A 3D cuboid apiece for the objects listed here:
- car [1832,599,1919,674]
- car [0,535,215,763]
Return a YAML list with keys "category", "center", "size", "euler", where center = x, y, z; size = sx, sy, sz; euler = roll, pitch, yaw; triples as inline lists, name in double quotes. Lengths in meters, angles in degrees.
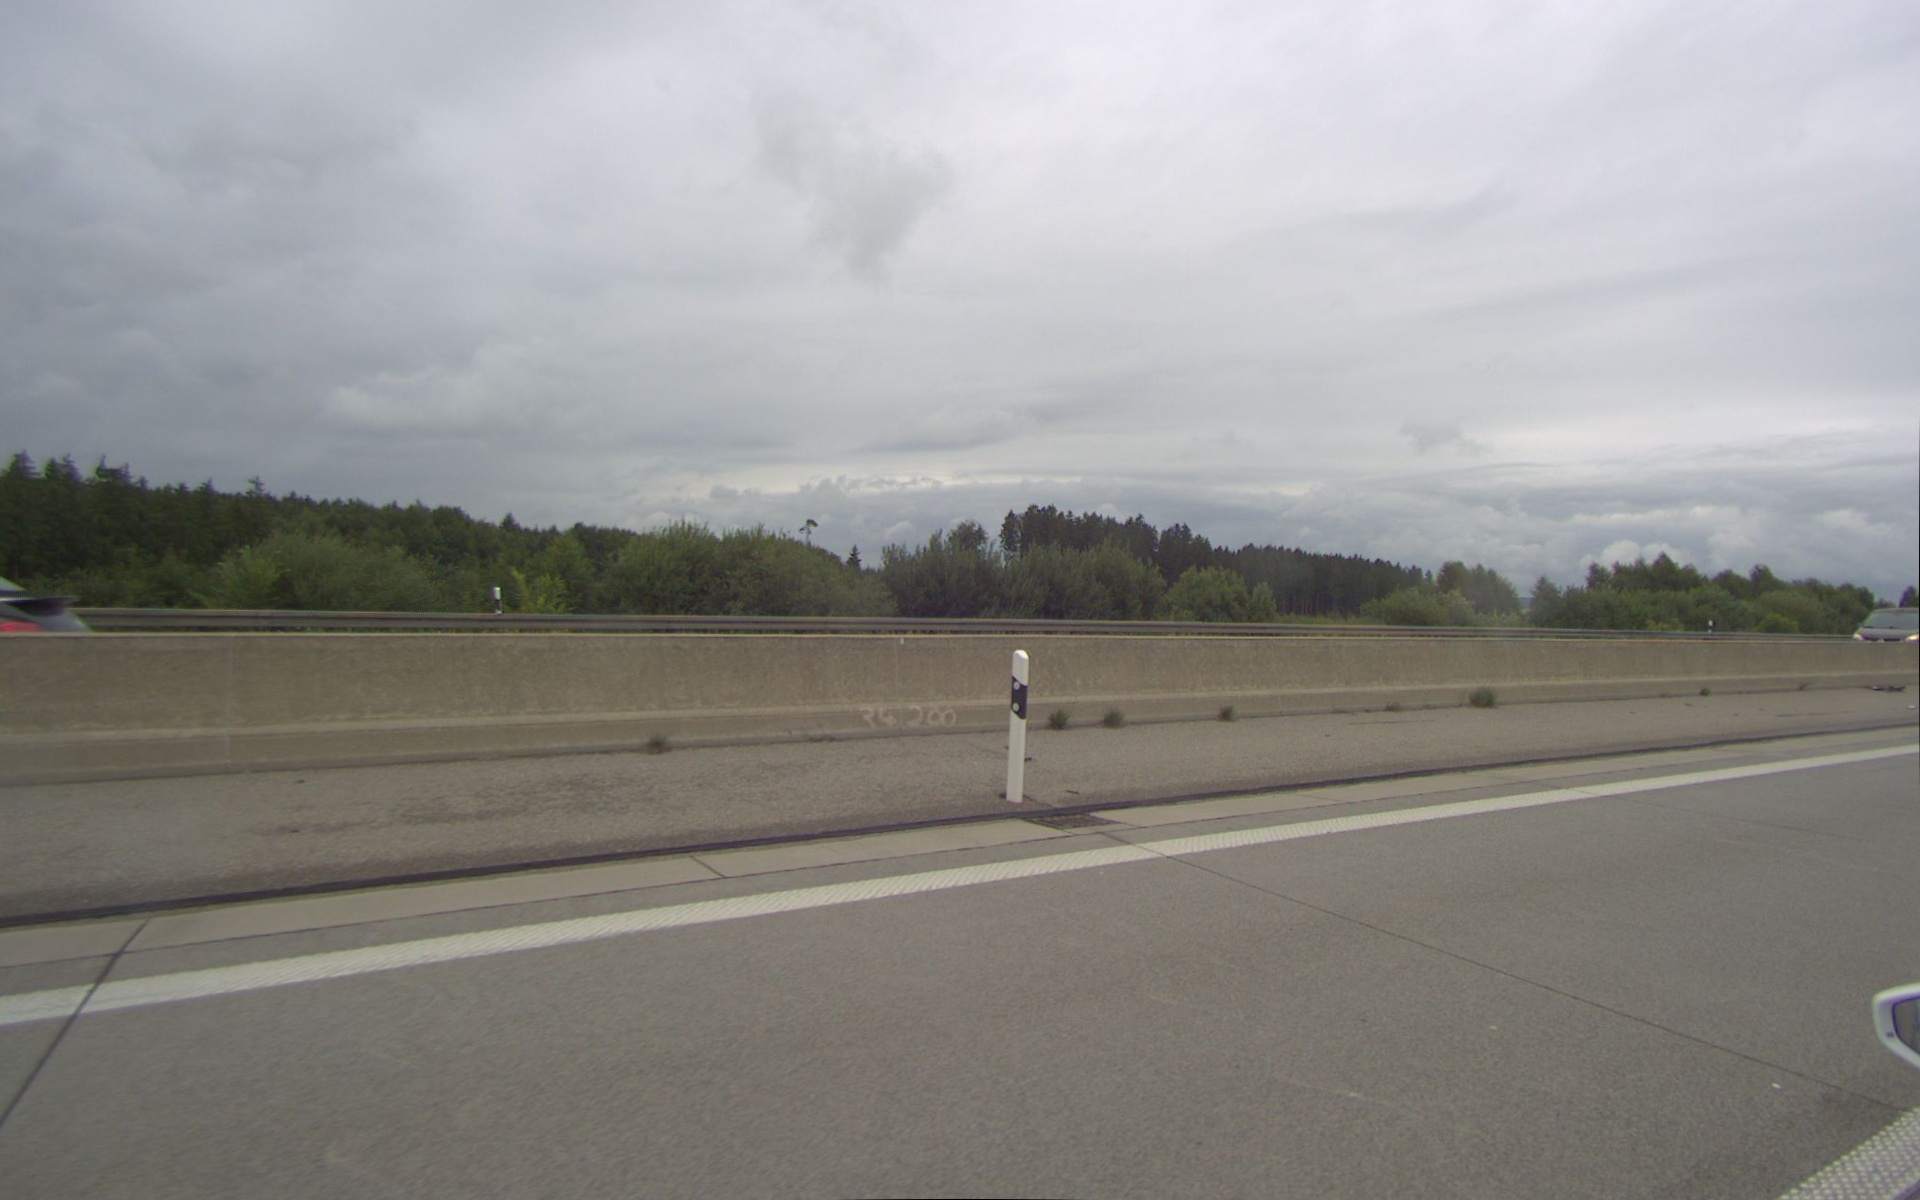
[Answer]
- category: "car"
  center: [29.403, 1.096, 31.261]
  size: [4.807, 2.175, 1.984]
  euler: [1, 0, -31]
- category: "car"
  center: [-8.282, 0.345, 8.036]
  size: [3.493, 1.706, 1.984]
  euler: [1, 0, -30]
